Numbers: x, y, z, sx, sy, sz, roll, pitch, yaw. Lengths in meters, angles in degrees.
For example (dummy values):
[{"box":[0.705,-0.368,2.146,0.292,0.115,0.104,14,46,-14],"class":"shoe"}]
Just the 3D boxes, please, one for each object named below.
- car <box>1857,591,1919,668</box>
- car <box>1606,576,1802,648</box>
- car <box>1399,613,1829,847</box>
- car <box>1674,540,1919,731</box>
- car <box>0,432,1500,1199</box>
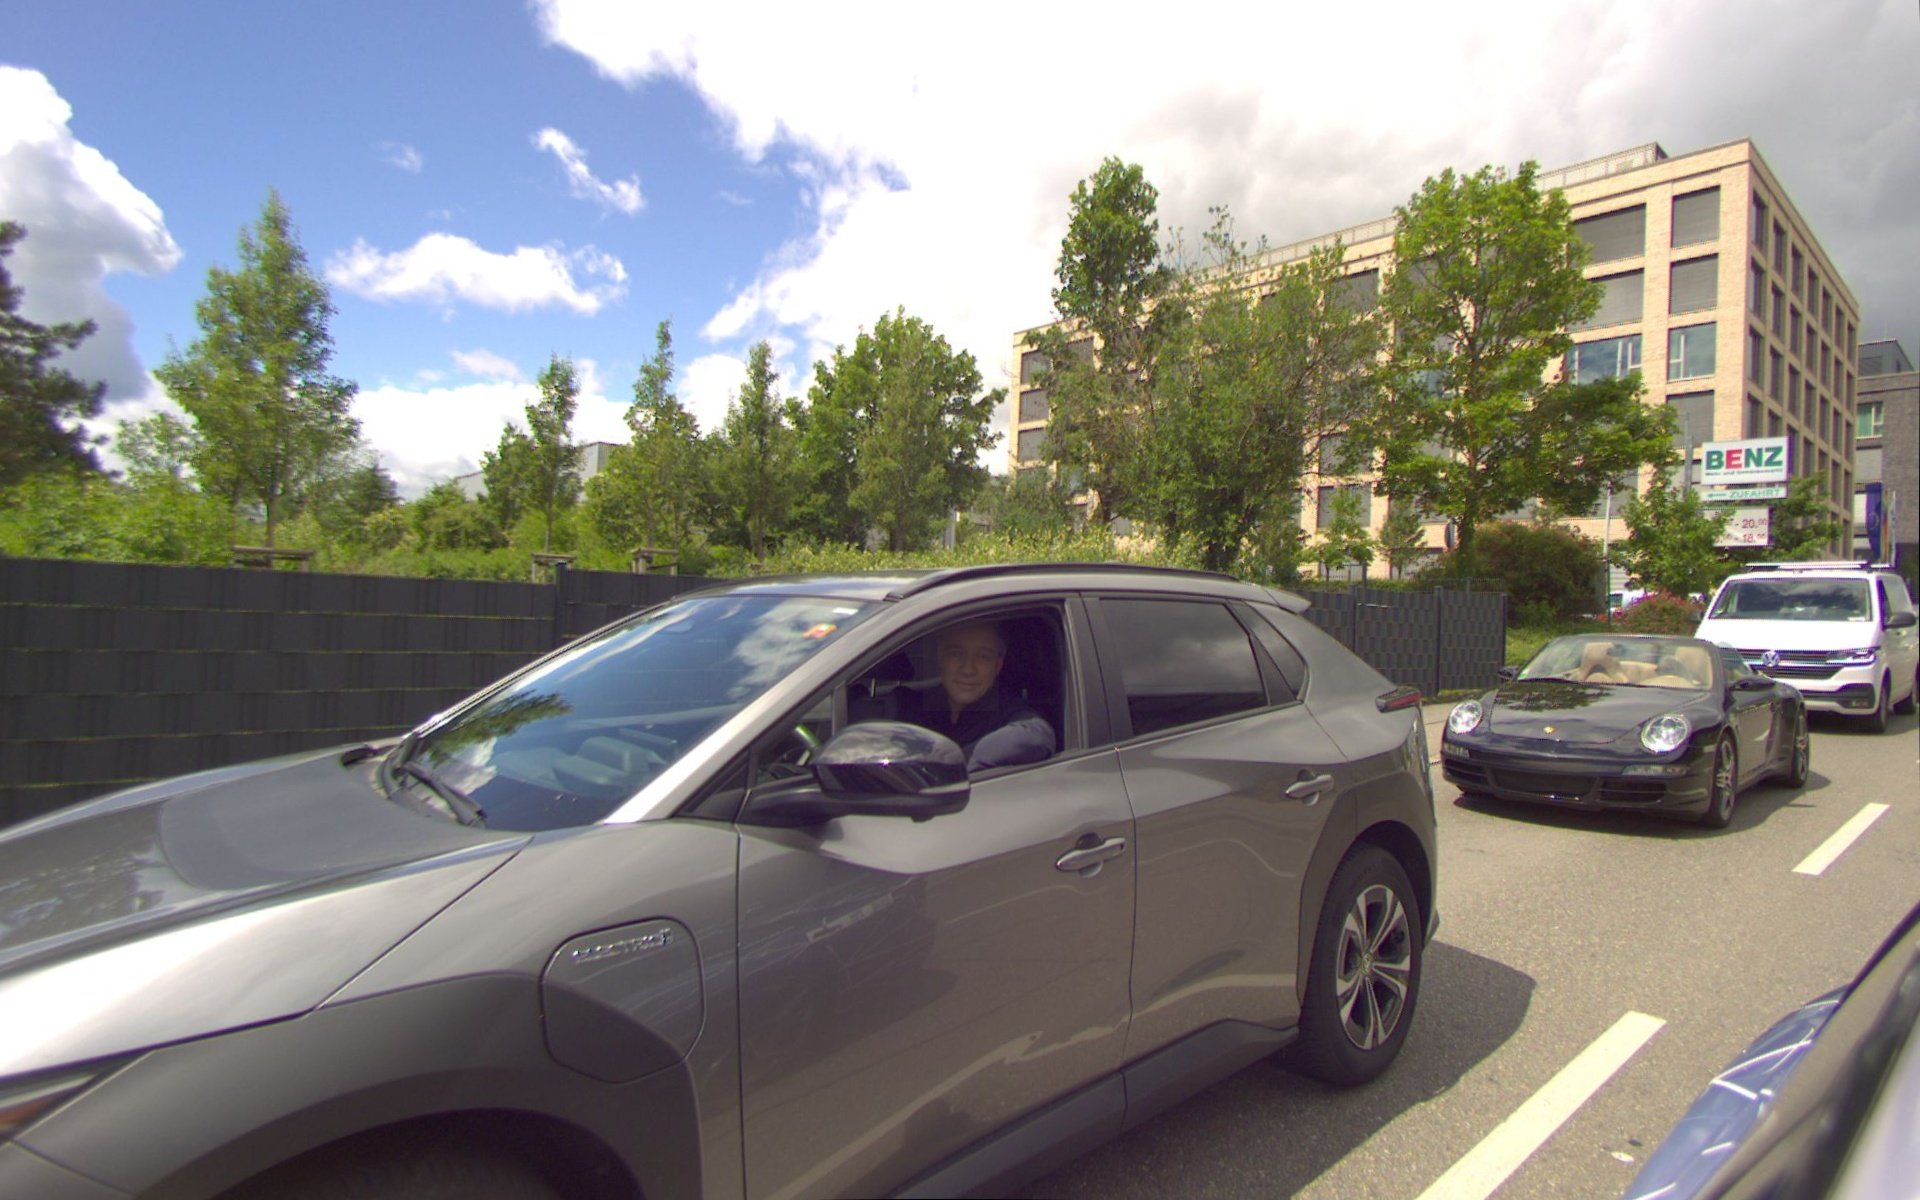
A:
[{"box":[20.239,0.584,21.069,3.930,1.481,1.817,0,2,-41],"class":"car"},{"box":[19.893,0.255,27.181,1.793,1.754,3.991,0,2,-44],"class":"car"},{"box":[5.288,0.794,7.985,3.967,1.310,1.823,0,0,-41],"class":"car"},{"box":[11.336,0.378,13.347,4.677,2.075,2.087,0,0,-41],"class":"car"},{"box":[-0.376,0.628,2.943,4.501,1.649,1.997,0,1,-42],"class":"car"}]
